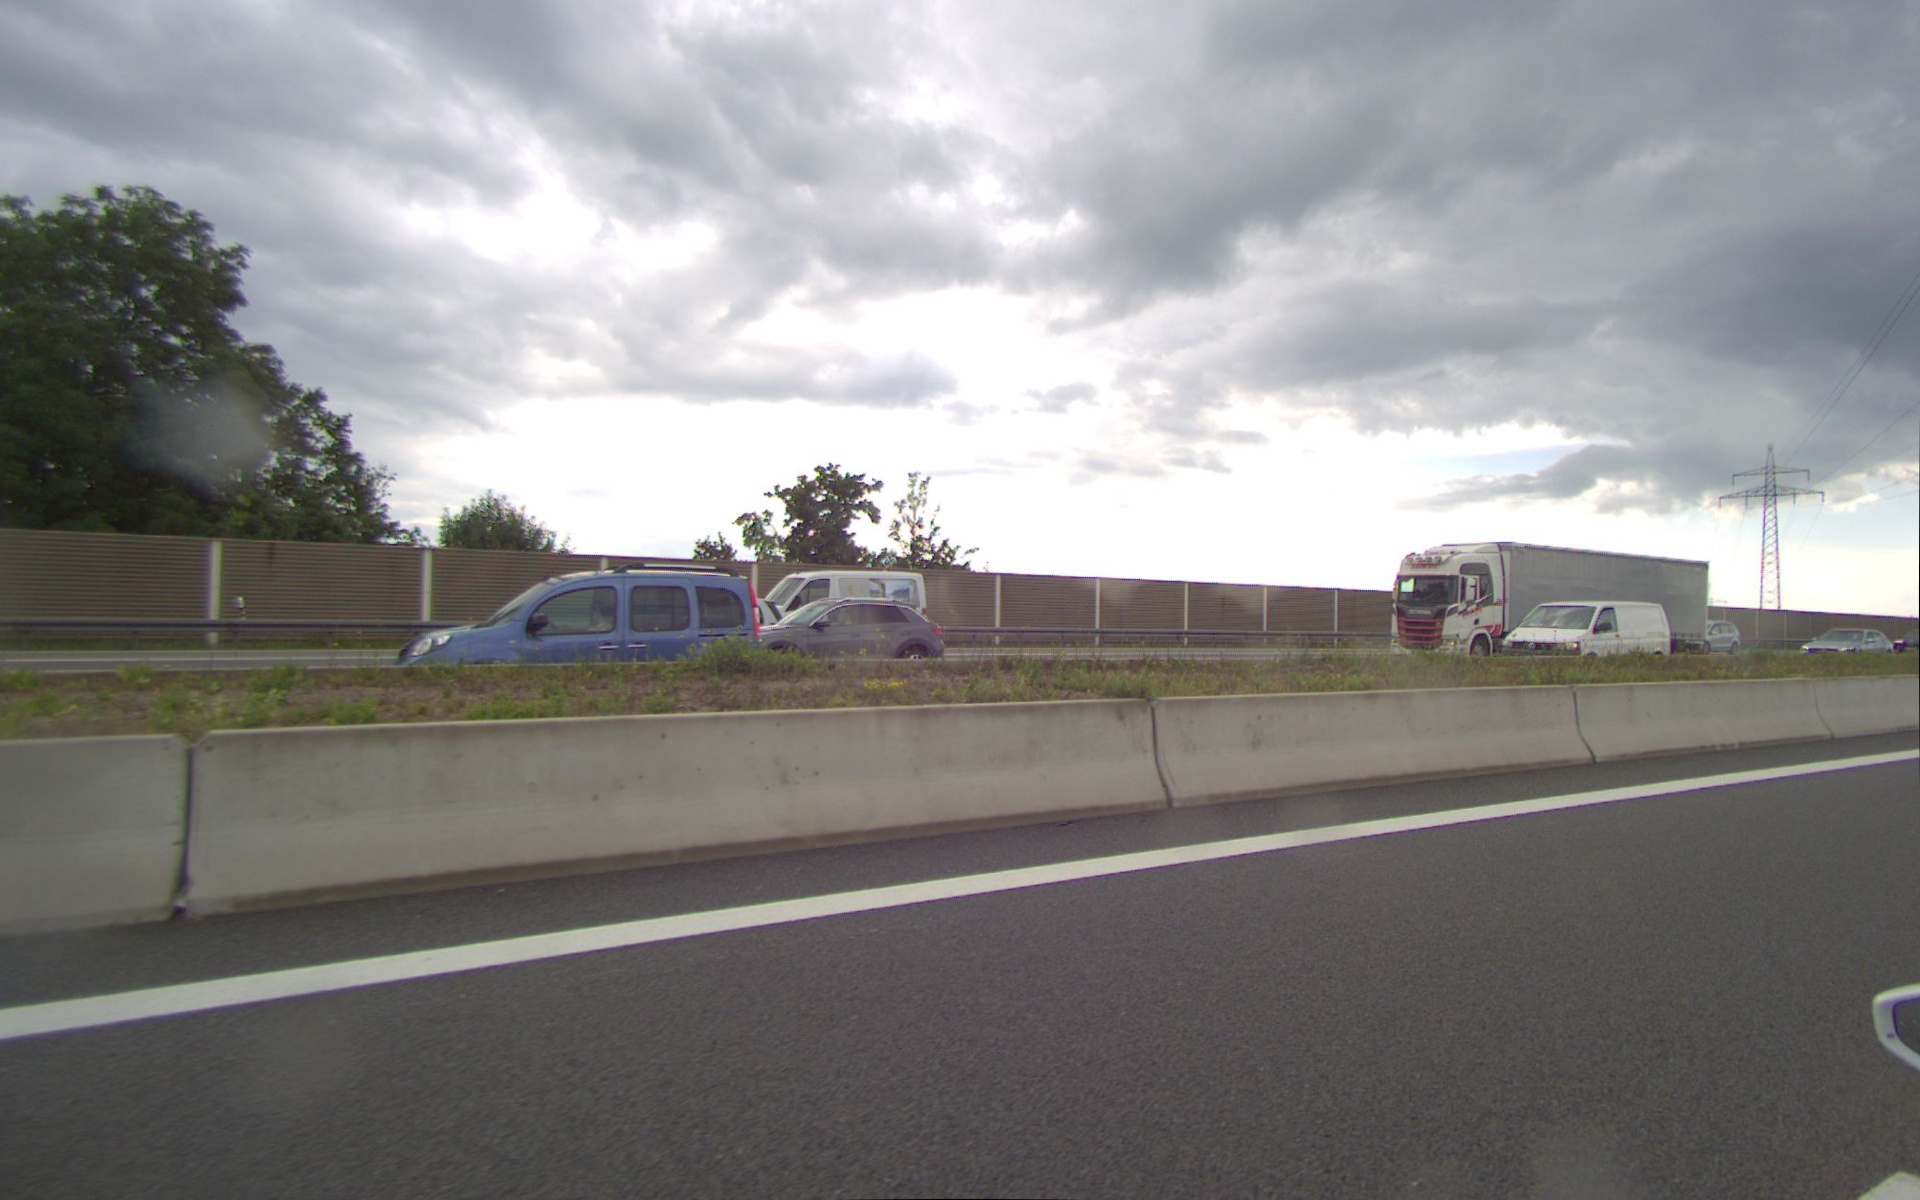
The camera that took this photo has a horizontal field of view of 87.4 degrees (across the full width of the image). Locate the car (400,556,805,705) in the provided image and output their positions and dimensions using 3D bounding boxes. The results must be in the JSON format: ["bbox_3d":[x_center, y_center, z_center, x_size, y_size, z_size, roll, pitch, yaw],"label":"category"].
[{"bbox_3d":[-4.328,0.366,12.372,4.432,1.557,1.756,2,0,-31],"label":"car"}]

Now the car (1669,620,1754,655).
[{"bbox_3d":[38.574,1.922,51.507,4.887,1.632,1.756,2,0,-31],"label":"car"}]

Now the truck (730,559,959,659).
[{"bbox_3d":[-3.057,0.283,27.016,5.727,2.449,2.106,2,0,-30],"label":"truck"}]

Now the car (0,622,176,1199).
[{"bbox_3d":[-3.953,0.709,0.814,5.002,1.387,1.752,1,0,-31],"label":"car"}]

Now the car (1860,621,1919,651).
[{"bbox_3d":[50.285,1.948,53.748,4.887,1.473,1.756,2,0,-31],"label":"car"}]

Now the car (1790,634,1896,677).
[{"bbox_3d":[35.660,2.214,40.524,5.101,1.557,1.756,2,0,-31],"label":"car"}]

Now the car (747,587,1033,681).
[{"bbox_3d":[-1.237,0.631,18.820,5.101,1.557,1.756,2,0,-31],"label":"car"}]

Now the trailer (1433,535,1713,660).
[{"bbox_3d":[23.446,0.067,37.968,13.136,4.115,3.302,2,0,-31],"label":"trailer"}]

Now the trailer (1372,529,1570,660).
[{"bbox_3d":[17.499,-0.114,34.370,6.009,4.098,3.302,2,0,-31],"label":"trailer"}]

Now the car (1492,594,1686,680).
[{"bbox_3d":[15.532,0.893,24.735,5.101,1.925,1.913,2,0,-31],"label":"car"}]
